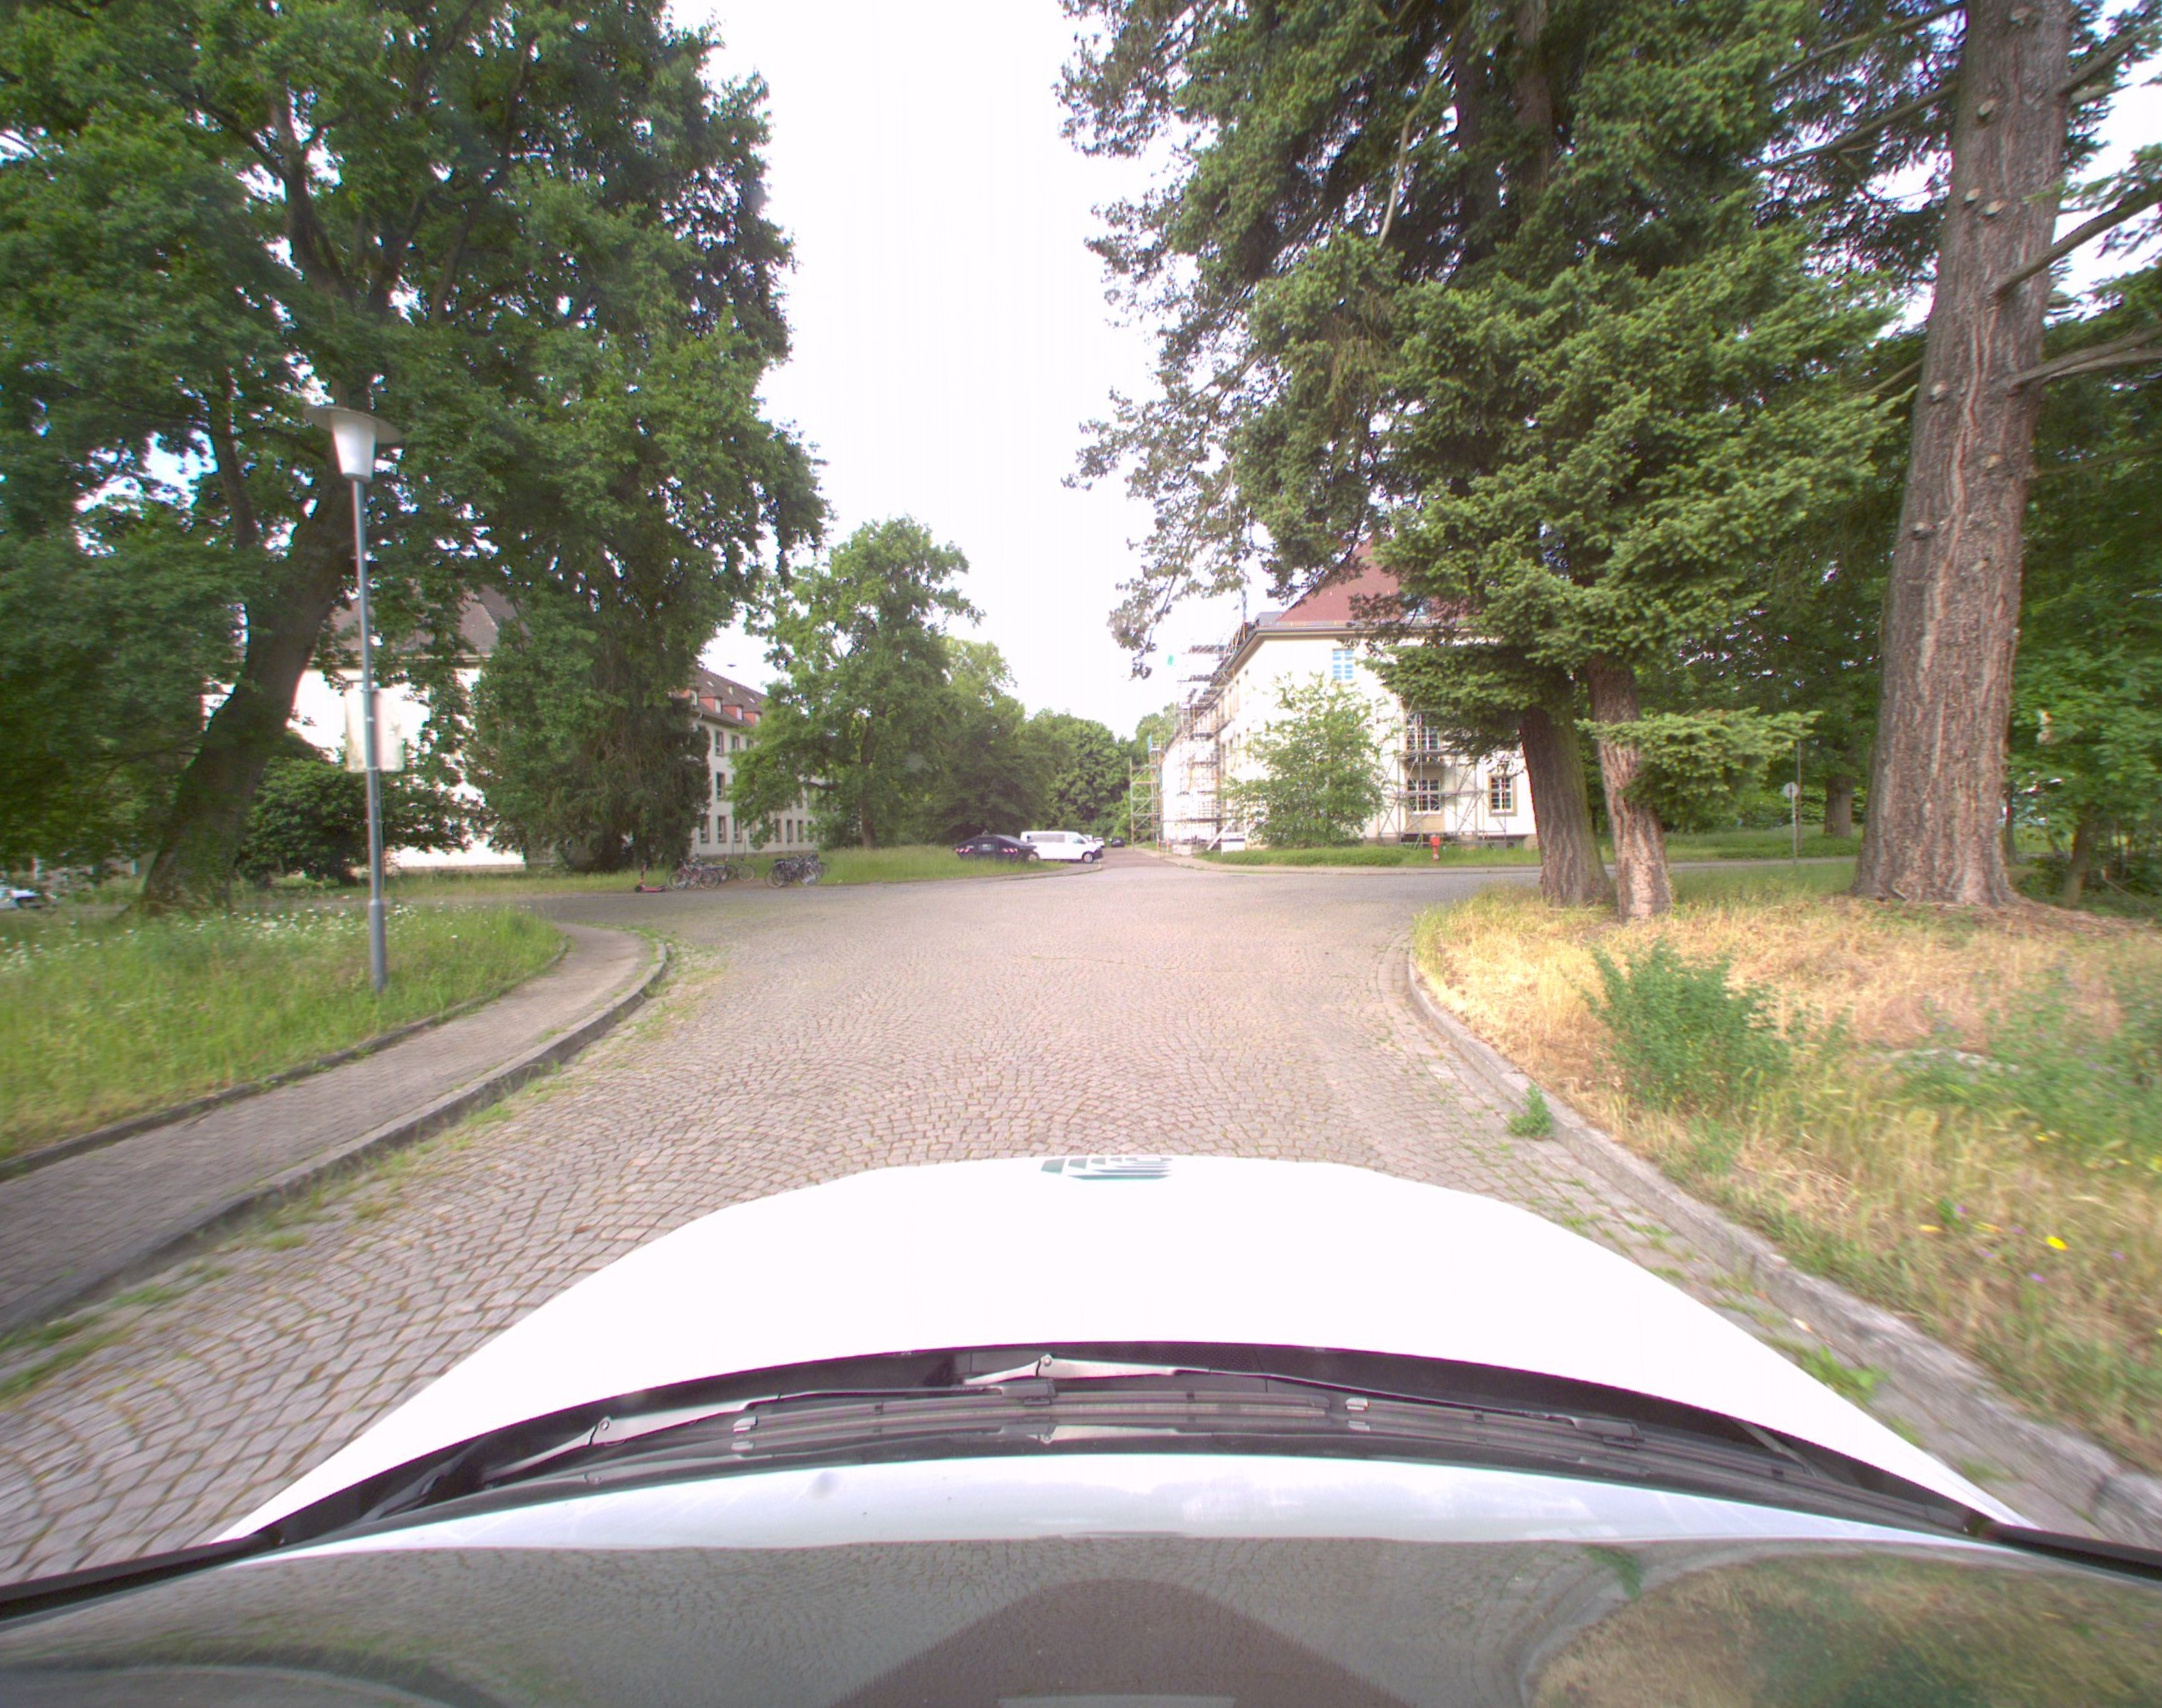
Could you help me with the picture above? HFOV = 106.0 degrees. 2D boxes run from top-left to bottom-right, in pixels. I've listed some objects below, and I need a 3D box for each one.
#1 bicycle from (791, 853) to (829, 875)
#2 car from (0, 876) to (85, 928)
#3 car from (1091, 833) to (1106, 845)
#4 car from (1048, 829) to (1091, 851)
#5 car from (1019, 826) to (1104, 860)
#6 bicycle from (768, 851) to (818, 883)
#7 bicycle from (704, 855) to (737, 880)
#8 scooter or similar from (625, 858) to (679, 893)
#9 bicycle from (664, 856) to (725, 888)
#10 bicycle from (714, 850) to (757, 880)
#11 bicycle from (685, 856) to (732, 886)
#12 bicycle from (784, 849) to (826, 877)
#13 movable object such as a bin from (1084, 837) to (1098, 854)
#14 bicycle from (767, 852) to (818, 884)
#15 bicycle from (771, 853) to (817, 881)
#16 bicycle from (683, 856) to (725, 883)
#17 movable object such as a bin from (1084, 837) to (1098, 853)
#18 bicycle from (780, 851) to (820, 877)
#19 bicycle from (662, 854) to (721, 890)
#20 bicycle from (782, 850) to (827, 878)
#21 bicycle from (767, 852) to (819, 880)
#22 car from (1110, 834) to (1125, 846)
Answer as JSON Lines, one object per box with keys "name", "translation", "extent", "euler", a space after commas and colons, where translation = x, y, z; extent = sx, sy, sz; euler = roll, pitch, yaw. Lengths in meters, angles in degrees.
{"name": "bicycle", "translation": [-12.419, 0.445, 37.340], "extent": [1.621, 0.910, 0.523], "euler": [-3, 4, -18]}
{"name": "car", "translation": [-34.018, 1.495, 24.906], "extent": [4.675, 1.437, 1.855], "euler": [-2, 1, 0]}
{"name": "car", "translation": [2.517, -2.138, 116.527], "extent": [1.996, 1.548, 3.956], "euler": [1, 0, -2]}
{"name": "car", "translation": [-1.135, -1.376, 78.103], "extent": [3.978, 2.013, 1.919], "euler": [1, 0, -4]}
{"name": "car", "translation": [-1.160, -0.672, 50.579], "extent": [5.184, 2.060, 2.188], "euler": [0, 0, 0]}
{"name": "bicycle", "translation": [-11.439, 0.503, 32.391], "extent": [1.798, 1.103, 0.698], "euler": [-3, 4, -18]}
{"name": "bicycle", "translation": [-16.135, 0.593, 36.431], "extent": [1.263, 1.029, 0.431], "euler": [-3, -1, -18]}
{"name": "scooter or similar", "translation": [-15.664, 0.787, 29.760], "extent": [1.540, 1.194, 0.683], "euler": [-2, 2, 4]}
{"name": "bicycle", "translation": [-14.711, 0.673, 31.068], "extent": [1.991, 1.114, 0.640], "euler": [-2, 3, -18]}
{"name": "bicycle", "translation": [-14.879, 0.476, 35.059], "extent": [1.647, 1.185, 0.569], "euler": [-2, 3, -25]}
{"name": "bicycle", "translation": [-14.945, 0.667, 32.705], "extent": [1.634, 1.073, 0.535], "euler": [-3, 3, -29]}
{"name": "bicycle", "translation": [-12.270, 0.409, 36.239], "extent": [1.701, 1.116, 0.538], "euler": [-3, 4, -18]}
{"name": "movable object such as a bin", "translation": [0.833, -0.749, 69.069], "extent": [1.179, 1.407, 0.976], "euler": [1, 0, 1]}
{"name": "bicycle", "translation": [-11.206, 0.533, 31.697], "extent": [1.773, 1.103, 0.698], "euler": [-3, 4, -18]}
{"name": "bicycle", "translation": [-11.637, 0.522, 33.064], "extent": [1.696, 1.001, 0.628], "euler": [-3, 4, -18]}
{"name": "bicycle", "translation": [-15.695, 0.646, 33.930], "extent": [1.520, 1.035, 0.540], "euler": [-3, 3, -29]}
{"name": "movable object such as a bin", "translation": [0.889, -0.762, 70.279], "extent": [1.179, 1.407, 0.976], "euler": [1, 0, 1]}
{"name": "bicycle", "translation": [-12.656, 0.428, 36.703], "extent": [1.621, 1.058, 0.523], "euler": [-3, 4, -18]}
{"name": "bicycle", "translation": [-14.536, 0.659, 30.433], "extent": [1.900, 1.222, 0.640], "euler": [-2, 3, -18]}
{"name": "bicycle", "translation": [-12.111, 0.446, 35.730], "extent": [1.776, 1.104, 0.538], "euler": [-3, 4, -18]}
{"name": "bicycle", "translation": [-11.941, 0.502, 33.825], "extent": [1.959, 1.004, 0.682], "euler": [-3, 4, -18]}
{"name": "car", "translation": [5.289, -2.036, 116.719], "extent": [2.054, 1.593, 4.004], "euler": [1, 0, 4]}
